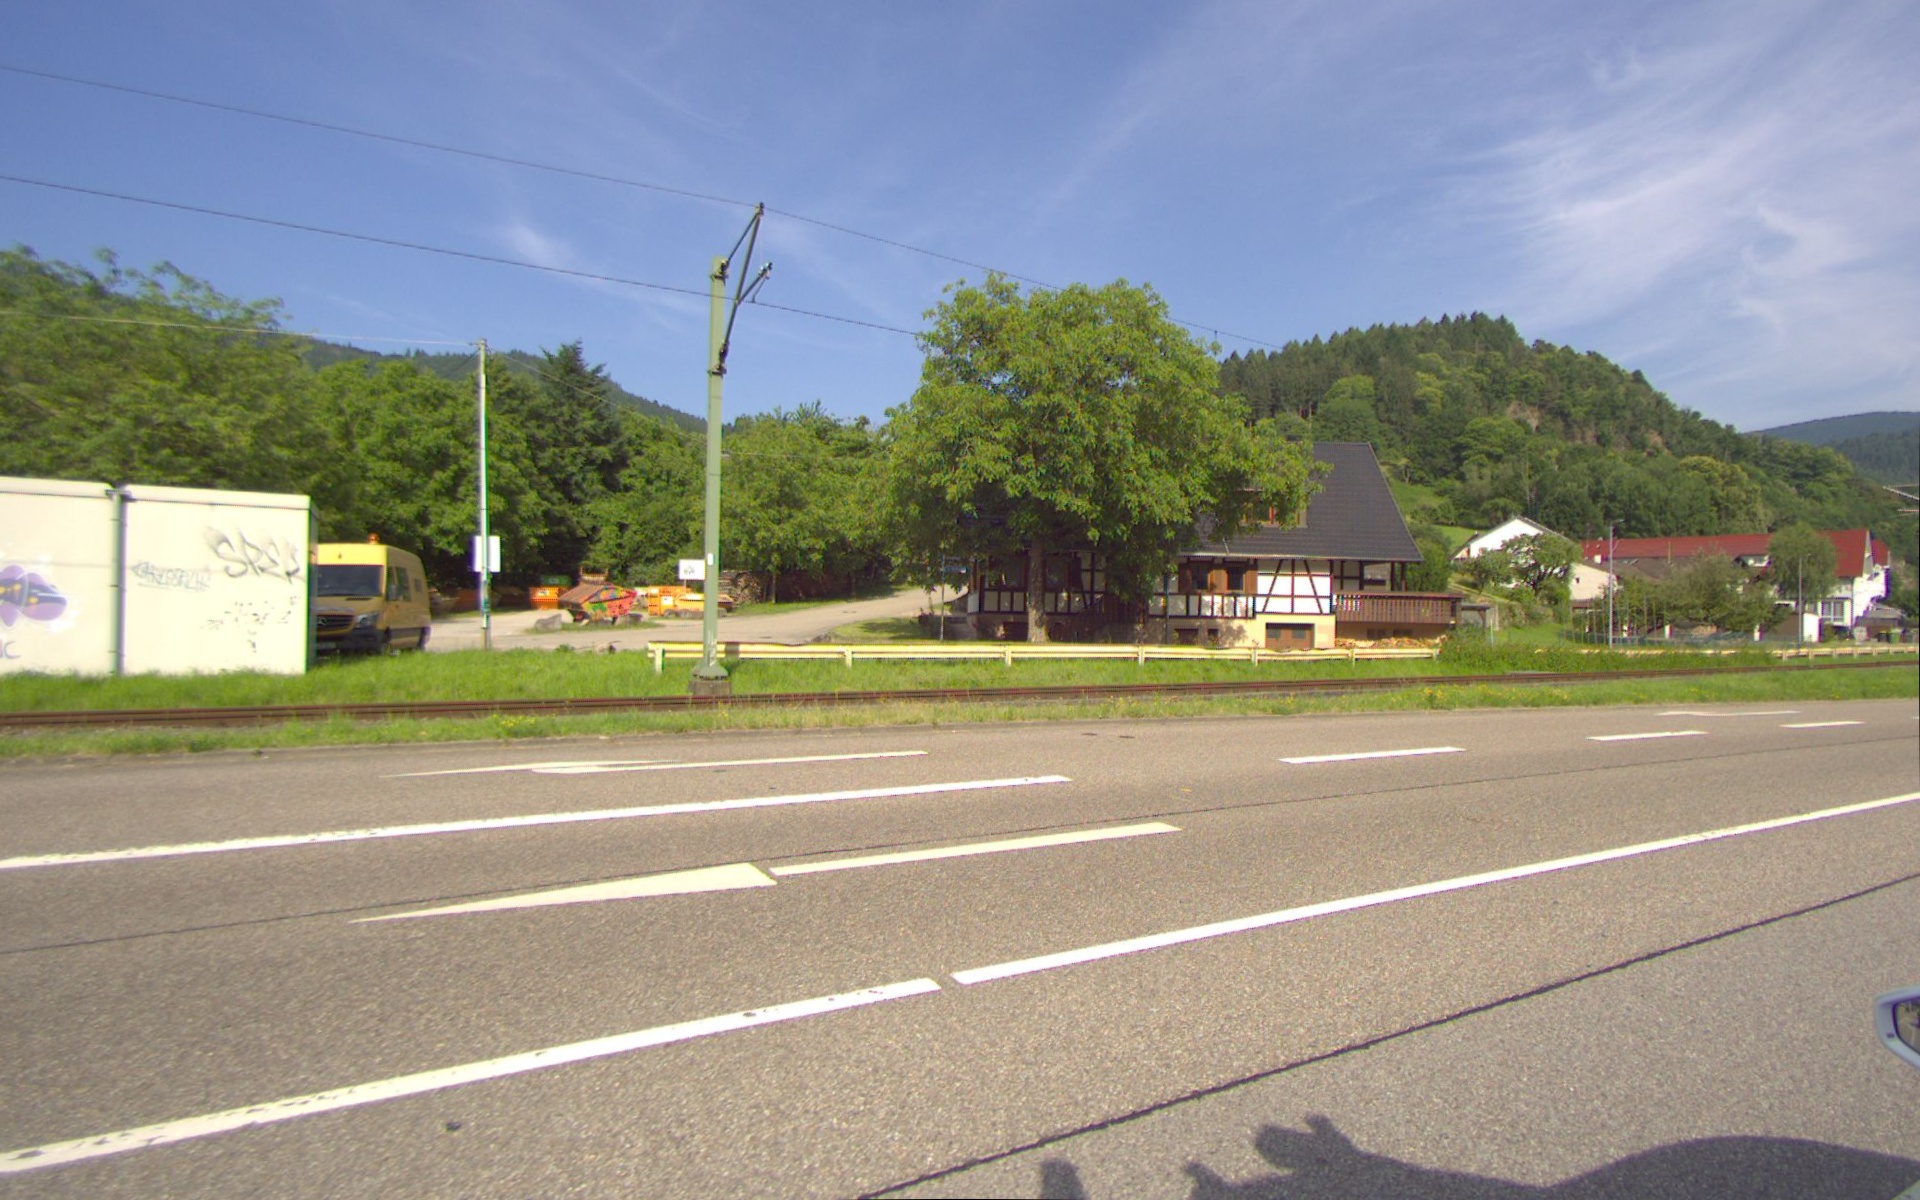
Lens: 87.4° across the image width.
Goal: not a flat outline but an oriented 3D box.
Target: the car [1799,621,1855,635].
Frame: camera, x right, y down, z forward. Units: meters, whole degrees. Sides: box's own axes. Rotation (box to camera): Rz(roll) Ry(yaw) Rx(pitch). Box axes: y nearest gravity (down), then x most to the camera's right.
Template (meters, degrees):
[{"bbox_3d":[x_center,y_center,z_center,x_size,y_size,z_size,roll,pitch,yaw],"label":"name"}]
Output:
[{"bbox_3d":[86.632,2.835,100.406,1.722,1.287,4.060,1,0,-40],"label":"car"}]

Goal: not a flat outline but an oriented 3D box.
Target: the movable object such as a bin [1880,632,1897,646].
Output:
[{"bbox_3d":[86.351,3.632,93.402,1.127,1.207,1.087,1,0,42],"label":"movable object such as a bin"}]

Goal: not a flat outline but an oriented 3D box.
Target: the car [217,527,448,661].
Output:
[{"bbox_3d":[-13.616,-0.101,22.504,2.903,2.490,7.055,1,0,-20],"label":"car"}]
